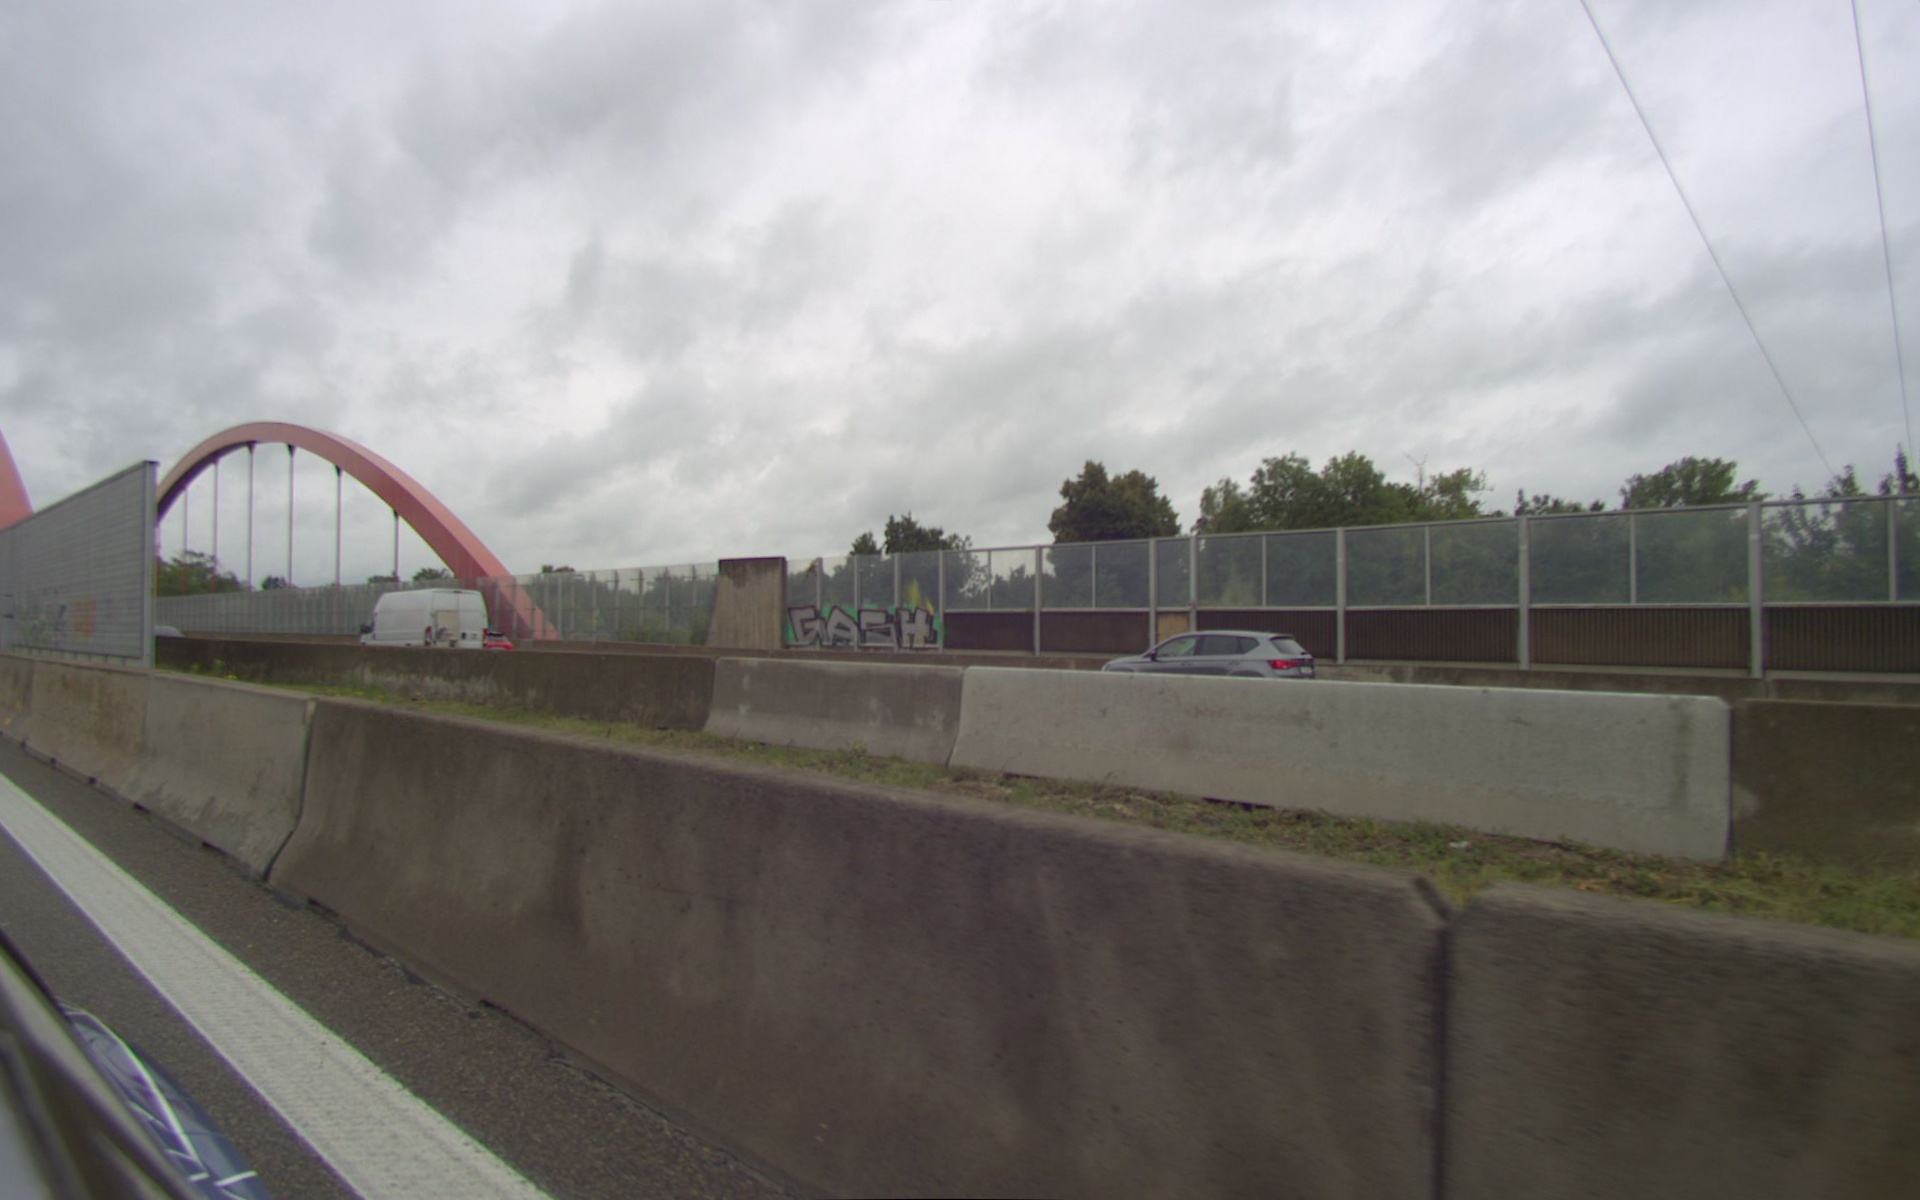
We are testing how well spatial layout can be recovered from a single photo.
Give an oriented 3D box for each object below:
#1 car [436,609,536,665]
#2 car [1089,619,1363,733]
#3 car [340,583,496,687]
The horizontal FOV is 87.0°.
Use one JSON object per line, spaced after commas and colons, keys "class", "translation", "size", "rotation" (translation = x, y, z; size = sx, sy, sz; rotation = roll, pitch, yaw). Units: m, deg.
{"class": "car", "translation": [-18.488, 1.408, 39.457], "size": [3.996, 2.029, 1.974], "rotation": [-1, 0, 39]}
{"class": "car", "translation": [5.051, 1.337, 19.579], "size": [4.635, 1.637, 2.099], "rotation": [4, 2, 39]}
{"class": "car", "translation": [-18.903, 1.058, 35.085], "size": [7.070, 3.008, 2.196], "rotation": [4, 2, 39]}
